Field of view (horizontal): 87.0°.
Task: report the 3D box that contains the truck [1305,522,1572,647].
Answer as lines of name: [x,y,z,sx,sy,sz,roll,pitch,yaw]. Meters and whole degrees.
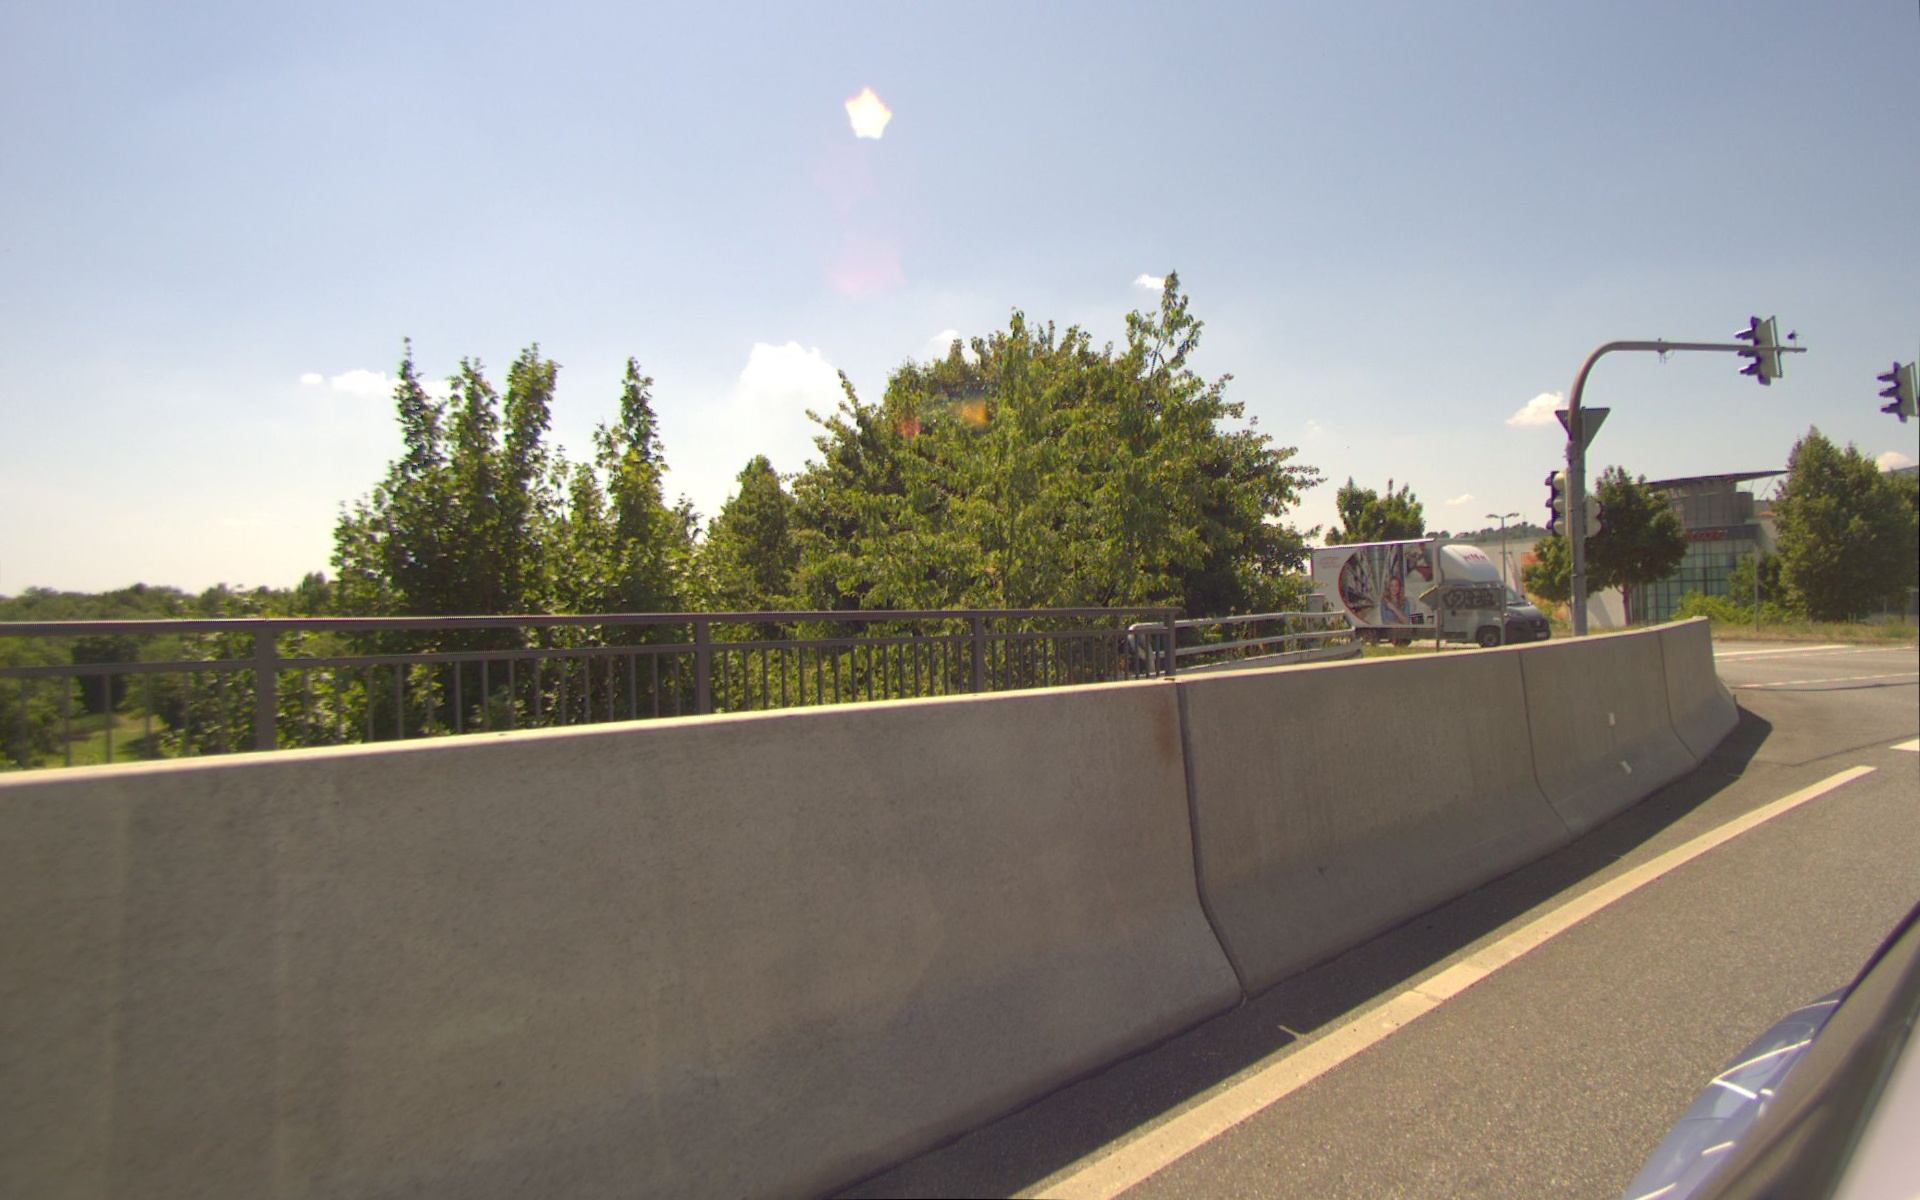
truck: [14.494,-0.400,31.340,2.369,3.389,7.205,-3,1,-32]
